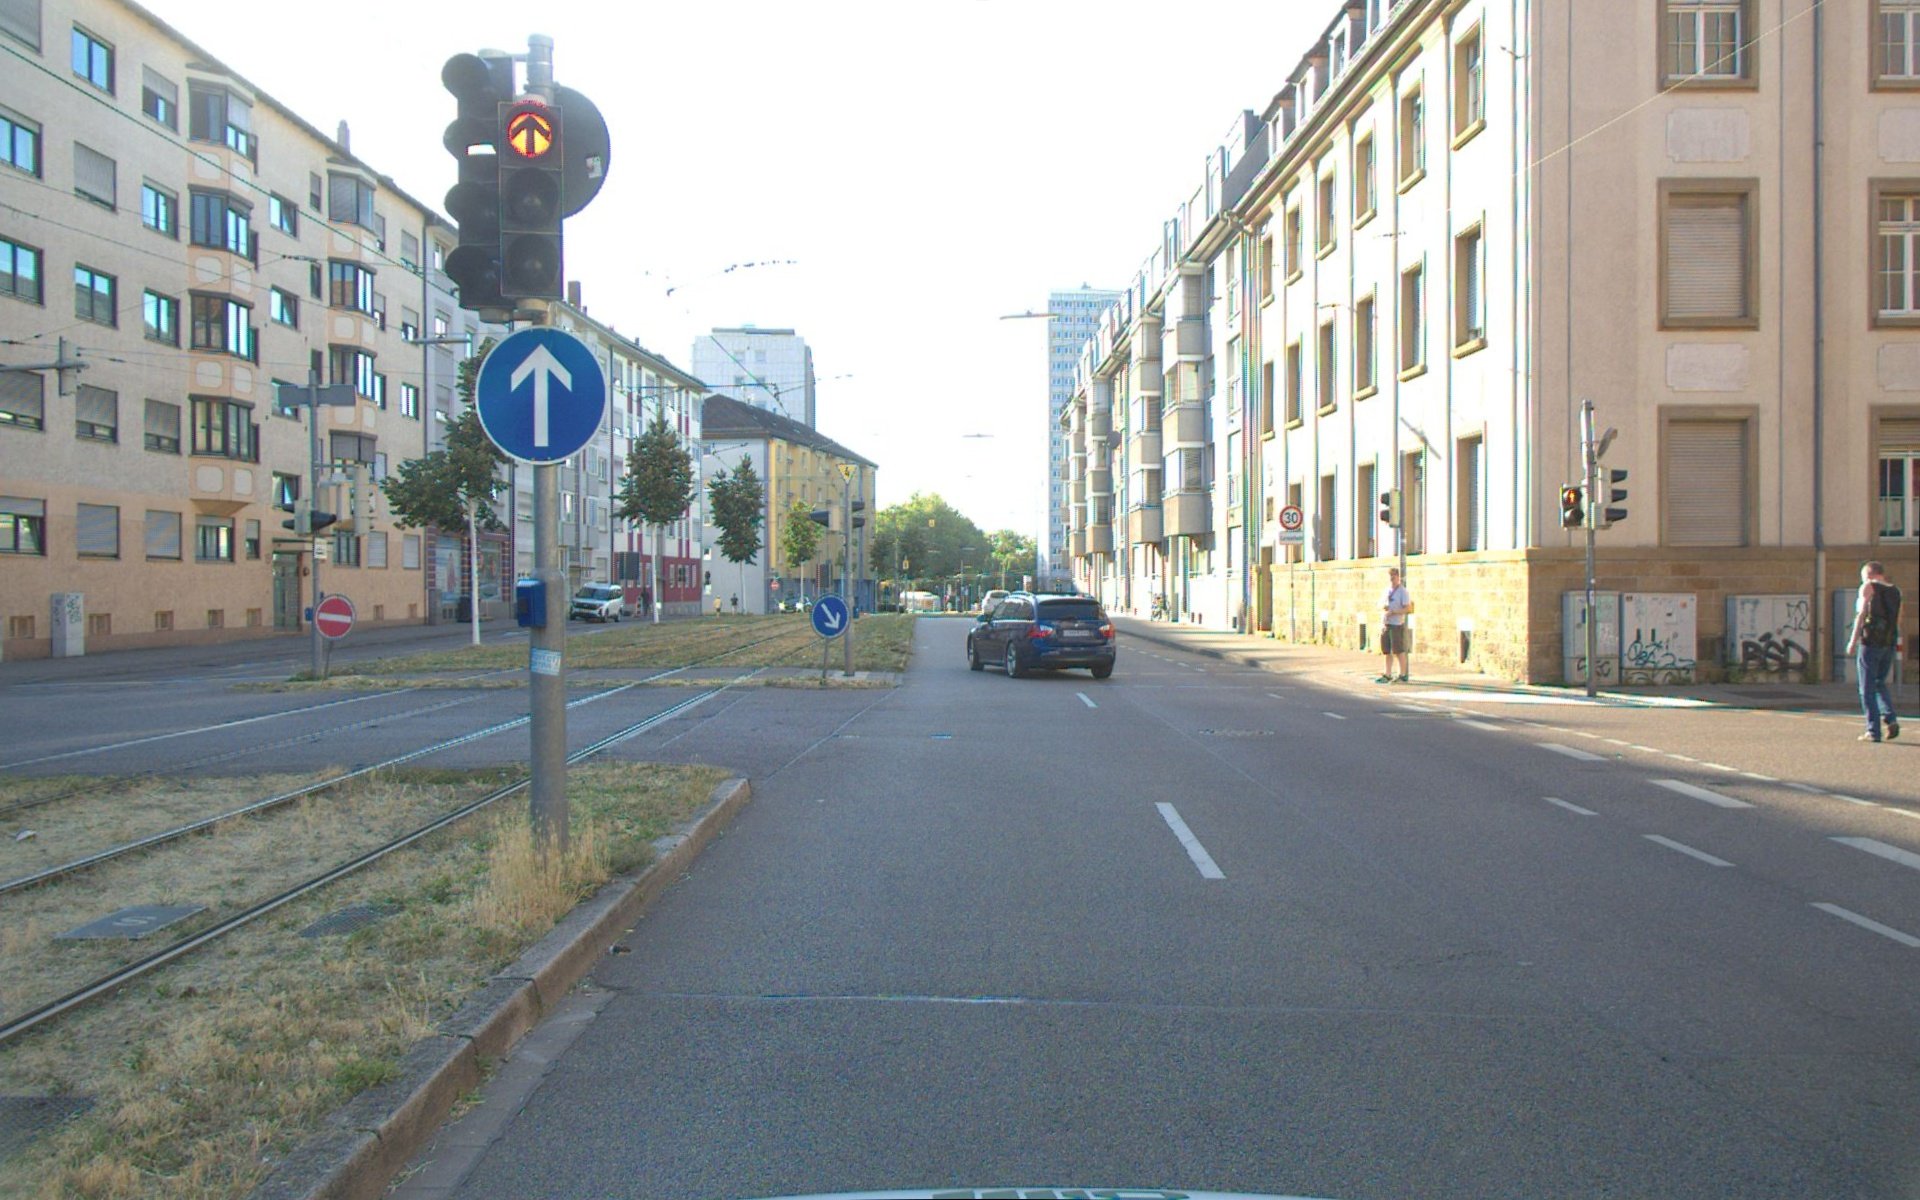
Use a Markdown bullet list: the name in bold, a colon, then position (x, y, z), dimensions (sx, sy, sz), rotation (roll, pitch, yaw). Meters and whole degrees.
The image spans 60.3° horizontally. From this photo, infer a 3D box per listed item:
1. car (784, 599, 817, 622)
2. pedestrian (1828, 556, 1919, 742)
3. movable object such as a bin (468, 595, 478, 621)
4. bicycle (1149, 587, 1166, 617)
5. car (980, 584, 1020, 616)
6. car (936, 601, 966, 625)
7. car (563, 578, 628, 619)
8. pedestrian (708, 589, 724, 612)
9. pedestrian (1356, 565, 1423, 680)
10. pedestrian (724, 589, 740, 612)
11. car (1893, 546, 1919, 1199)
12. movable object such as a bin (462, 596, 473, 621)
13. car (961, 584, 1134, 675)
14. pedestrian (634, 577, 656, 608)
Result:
- **car**: position (-12.276, 0.789, 127.412), dimensions (1.857, 1.662, 4.749), rotation (-1, 0, 3)
- **pedestrian**: position (9.130, 0.474, 16.372), dimensions (0.616, 1.789, 0.825), rotation (1, -1, -1)
- **movable object such as a bin**: position (-20.172, 0.341, 68.508), dimensions (0.292, 1.054, 0.441), rotation (1, -1, -2)
- **bicycle**: position (7.398, 0.087, 62.077), dimensions (0.376, 1.115, 1.503), rotation (-1, 0, -3)
- **car**: position (2.077, 0.005, 86.456), dimensions (1.953, 1.591, 3.999), rotation (1, 0, -1)
- **car**: position (-0.655, 0.910, 114.722), dimensions (1.953, 1.581, 4.392), rotation (1, 0, -2)
- **car**: position (-17.885, -0.054, 81.277), dimensions (1.952, 1.958, 4.543), rotation (1, 0, 3)
- **pedestrian**: position (-18.095, 0.041, 122.897), dimensions (0.942, 1.723, 1.011), rotation (1, 0, 4)
- **pedestrian**: position (6.861, 0.358, 26.444), dimensions (0.818, 1.793, 0.824), rotation (1, -1, -1)
- **pedestrian**: position (-17.036, 0.058, 123.616), dimensions (0.942, 1.699, 1.011), rotation (1, 0, 4)
- **car**: position (2.872, 0.714, 1.441), dimensions (1.663, 1.580, 4.225), rotation (2, 0, -1)
- **movable object such as a bin**: position (-20.227, 0.350, 67.941), dimensions (0.292, 1.054, 0.441), rotation (1, -1, -1)
- **car**: position (1.453, 0.497, 29.335), dimensions (1.894, 1.481, 4.312), rotation (1, 0, -14)
- **pedestrian**: position (-18.545, -0.428, 97.379), dimensions (1.246, 1.791, 1.271), rotation (1, 0, -10)
